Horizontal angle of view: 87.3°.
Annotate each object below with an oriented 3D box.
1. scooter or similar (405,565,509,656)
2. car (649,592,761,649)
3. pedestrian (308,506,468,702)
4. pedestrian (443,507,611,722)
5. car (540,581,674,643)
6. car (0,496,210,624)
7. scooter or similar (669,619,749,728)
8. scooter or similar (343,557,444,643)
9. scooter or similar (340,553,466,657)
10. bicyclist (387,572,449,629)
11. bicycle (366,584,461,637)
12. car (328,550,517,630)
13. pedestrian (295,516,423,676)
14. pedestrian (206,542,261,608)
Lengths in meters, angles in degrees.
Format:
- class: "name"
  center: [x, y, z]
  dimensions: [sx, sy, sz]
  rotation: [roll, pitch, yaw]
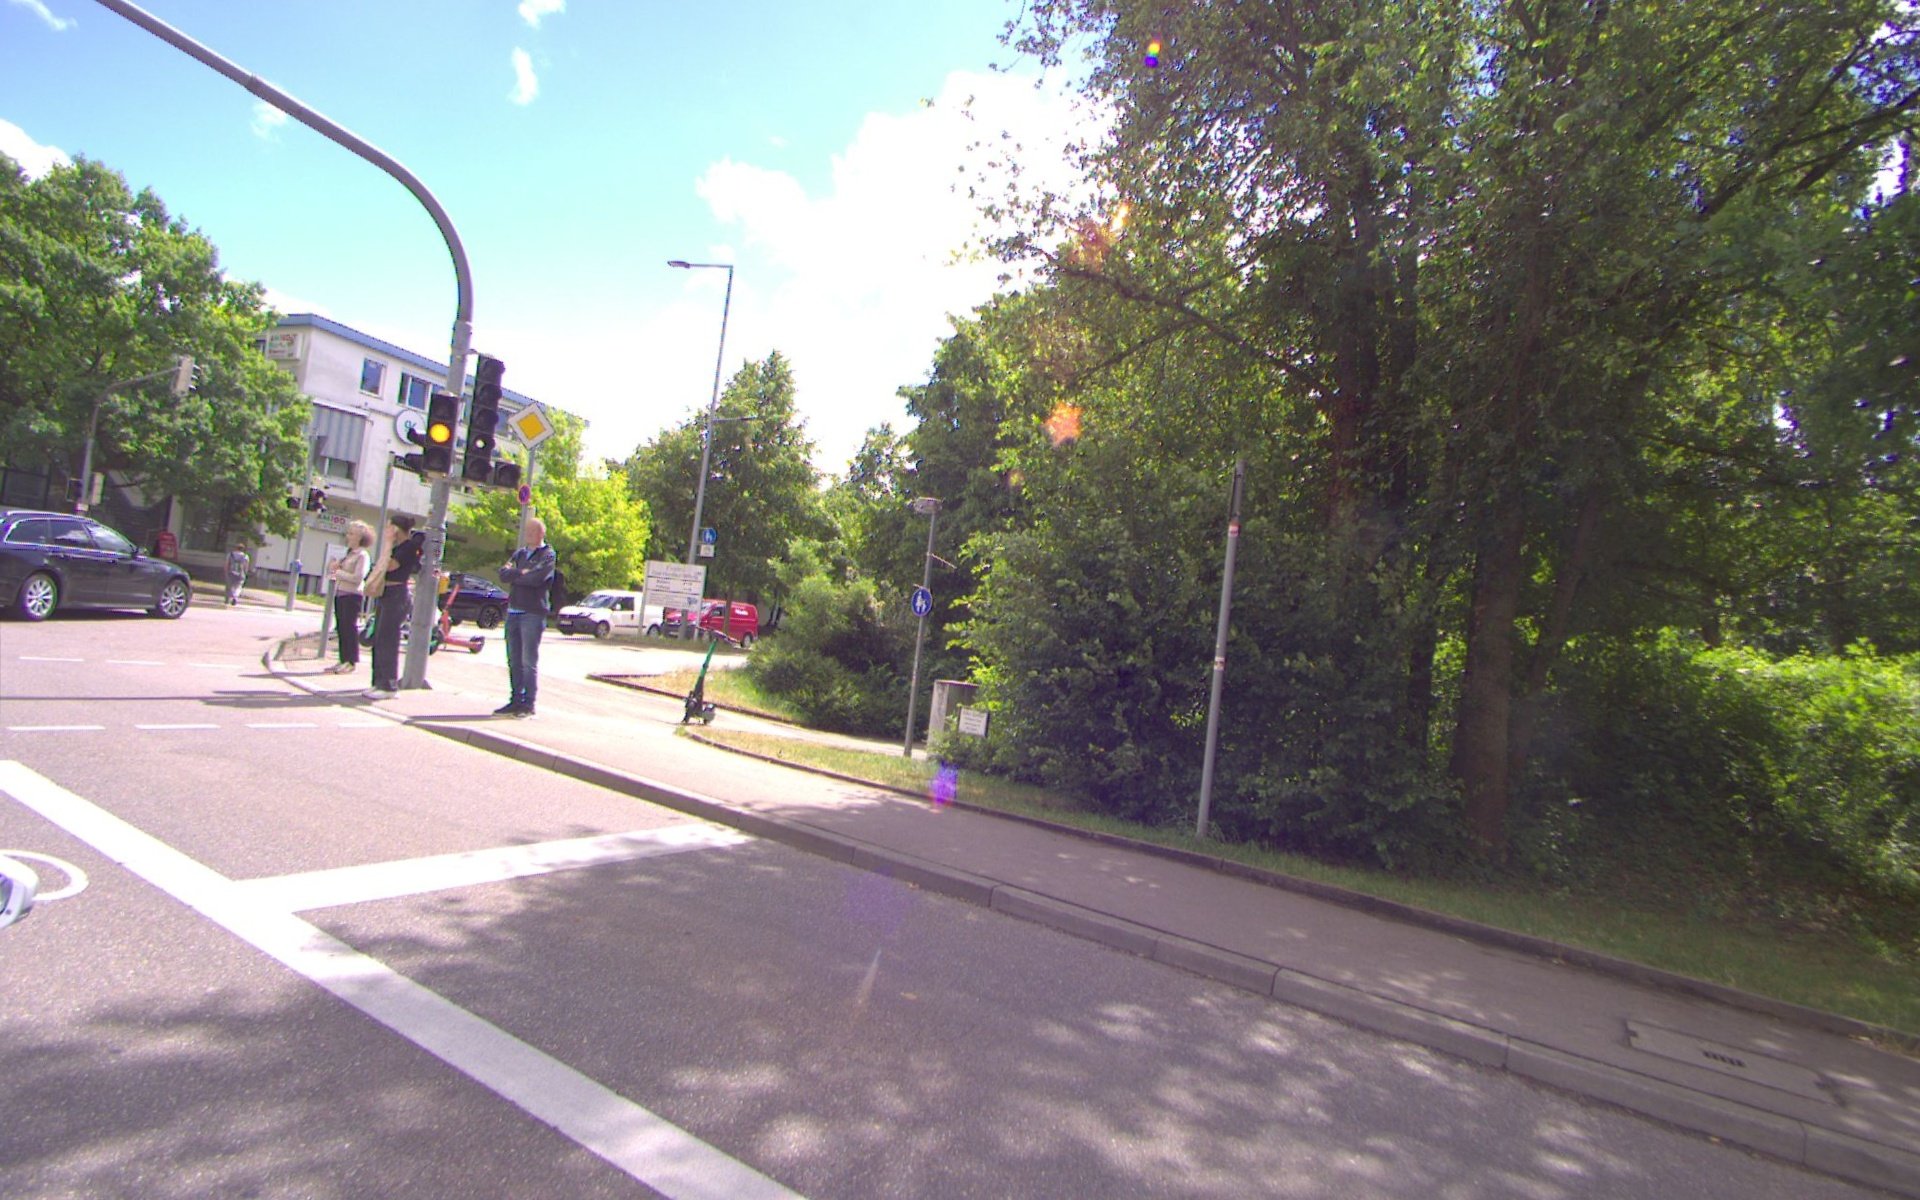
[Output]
- class: "scooter or similar"
  center: [-7.934, 0.190, 15.913]
  dimensions: [0.547, 1.254, 1.231]
  rotation: [8, -3, 23]
- class: "car"
  center: [-10.625, 0.897, 42.334]
  dimensions: [1.964, 1.885, 4.822]
  rotation: [5, -3, 23]
- class: "pedestrian"
  center: [-5.642, 0.055, 9.957]
  dimensions: [0.758, 1.787, 0.936]
  rotation: [7, 0, 20]
- class: "pedestrian"
  center: [-4.284, 0.163, 10.009]
  dimensions: [0.881, 1.964, 0.968]
  rotation: [7, -1, 28]
- class: "car"
  center: [-12.946, 0.496, 37.225]
  dimensions: [1.963, 1.737, 4.576]
  rotation: [7, -2, 23]
- class: "car"
  center: [-13.077, -0.574, 14.154]
  dimensions: [1.966, 1.571, 4.518]
  rotation: [7, -2, -8]
- class: "scooter or similar"
  center: [-3.346, 1.003, 13.527]
  dimensions: [0.706, 1.287, 1.243]
  rotation: [10, -7, -7]
- class: "scooter or similar"
  center: [-8.943, 0.026, 15.945]
  dimensions: [0.533, 1.168, 1.362]
  rotation: [9, -3, 7]
- class: "scooter or similar"
  center: [-7.883, 0.092, 14.281]
  dimensions: [0.455, 1.292, 1.344]
  rotation: [8, -1, 38]
- class: "bicyclist"
  center: [-11.132, 0.012, 20.672]
  dimensions: [0.625, 1.034, 0.794]
  rotation: [7, -2, 28]
- class: "bicycle"
  center: [-11.265, 0.210, 20.730]
  dimensions: [1.776, 0.828, 0.794]
  rotation: [7, -2, 28]
- class: "car"
  center: [-15.892, -0.241, 30.037]
  dimensions: [1.964, 1.737, 4.574]
  rotation: [7, -2, 25]
- class: "pedestrian"
  center: [-6.926, -0.044, 11.598]
  dimensions: [0.950, 1.694, 0.860]
  rotation: [7, -1, -43]
- class: "pedestrian"
  center: [-20.019, -0.684, 27.729]
  dimensions: [0.892, 1.662, 0.770]
  rotation: [7, -2, 32]
